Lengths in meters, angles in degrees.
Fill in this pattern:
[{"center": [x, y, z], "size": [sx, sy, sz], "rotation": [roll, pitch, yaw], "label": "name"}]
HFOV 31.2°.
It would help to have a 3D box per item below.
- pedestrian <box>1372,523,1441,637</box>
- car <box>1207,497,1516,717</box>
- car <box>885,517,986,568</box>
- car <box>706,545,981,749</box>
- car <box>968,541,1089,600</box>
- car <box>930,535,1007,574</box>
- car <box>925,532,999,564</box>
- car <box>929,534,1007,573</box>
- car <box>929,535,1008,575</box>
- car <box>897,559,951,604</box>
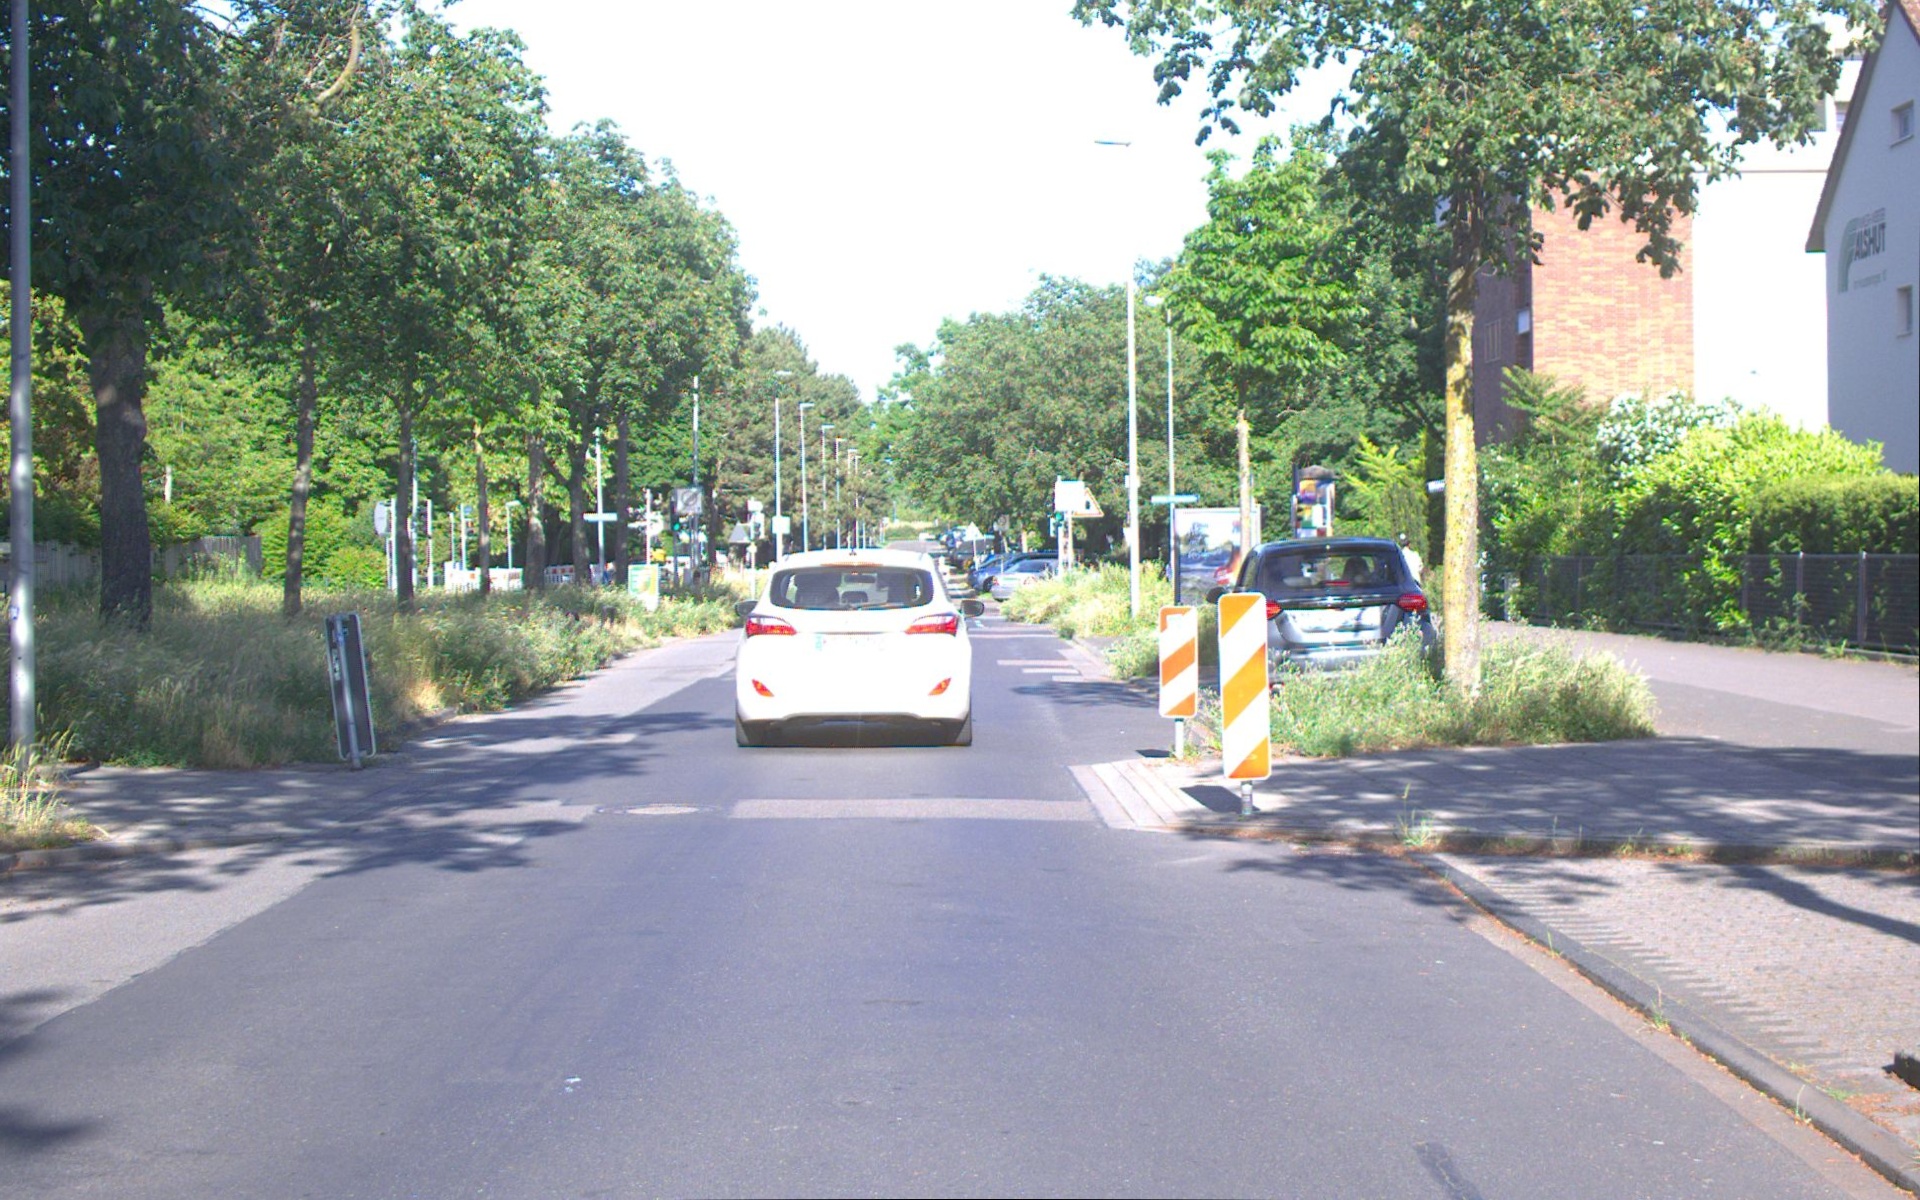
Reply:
[{"center": [7.978, -0.361, 61.465], "size": [1.112, 2.007, 0.922], "rotation": [0, 1, 0], "label": "pedestrian"}, {"center": [3.421, 0.045, 30.049], "size": [1.993, 1.722, 4.000], "rotation": [-2, 0, -3], "label": "car"}, {"center": [-0.999, -2.323, 138.596], "size": [3.986, 2.007, 2.000], "rotation": [0, 1, -2], "label": "car"}, {"center": [-0.903, 0.308, 27.127], "size": [1.993, 1.450, 4.225], "rotation": [0, 1, -2], "label": "car"}, {"center": [1.906, -0.809, 94.922], "size": [1.996, 1.503, 3.653], "rotation": [3, 1, 24], "label": "car"}, {"center": [0.454, -2.382, 180.534], "size": [3.986, 2.007, 2.000], "rotation": [0, 1, -2], "label": "car"}, {"center": [0.099, -2.873, 190.794], "size": [3.986, 1.744, 2.000], "rotation": [0, 1, -3], "label": "car"}, {"center": [0.403, -2.395, 177.810], "size": [3.986, 2.007, 2.000], "rotation": [0, 1, -2], "label": "car"}, {"center": [0.412, -2.294, 175.240], "size": [3.986, 2.007, 2.000], "rotation": [0, 1, -2], "label": "car"}, {"center": [-1.290, -0.690, 122.981], "size": [1.816, 1.503, 3.658], "rotation": [3, 1, -1], "label": "car"}]
